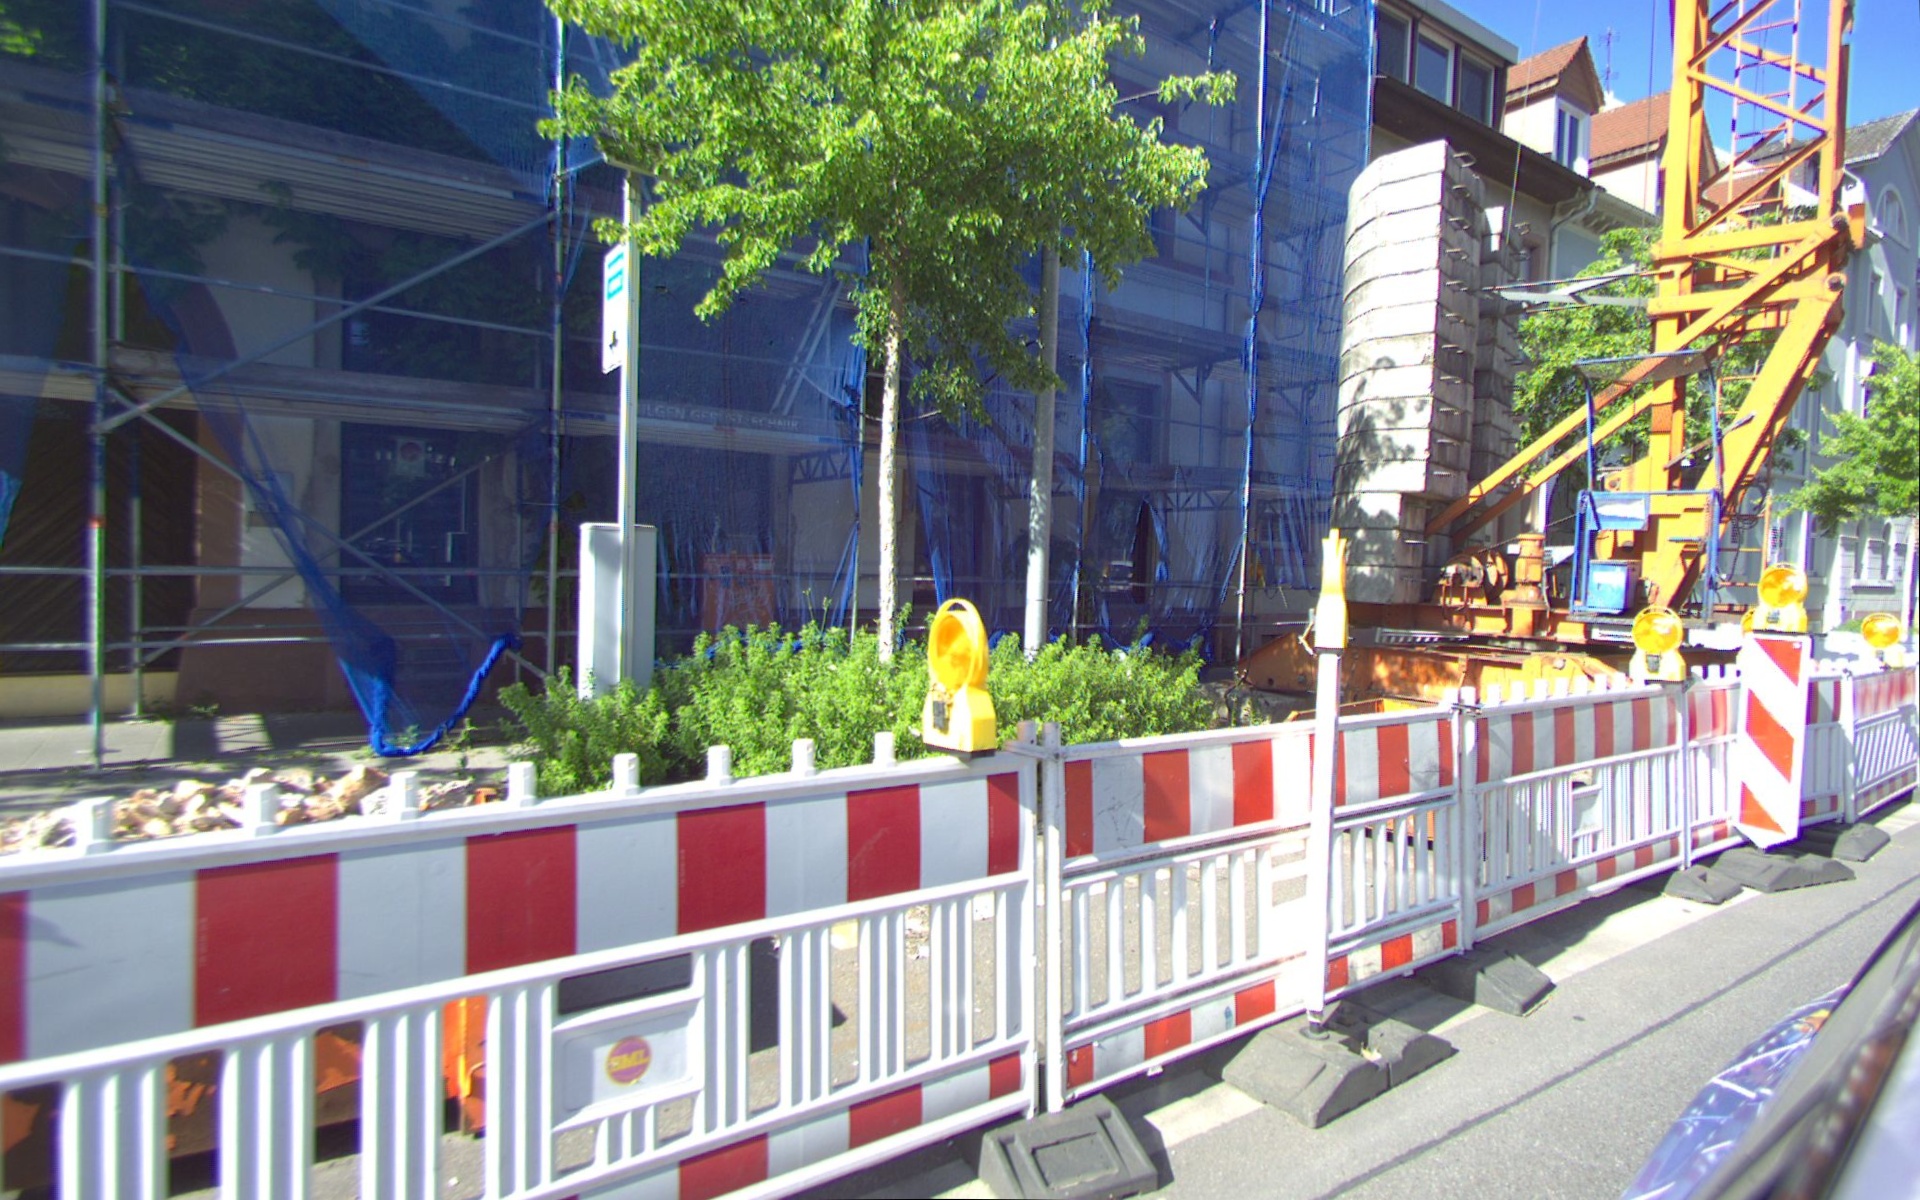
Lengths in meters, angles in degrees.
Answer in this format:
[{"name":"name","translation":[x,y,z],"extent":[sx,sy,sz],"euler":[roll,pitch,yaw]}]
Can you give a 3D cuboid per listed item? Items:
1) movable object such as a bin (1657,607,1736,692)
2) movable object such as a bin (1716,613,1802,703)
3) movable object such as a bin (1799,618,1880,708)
[{"name":"movable object such as a bin","translation":[10.163,0.662,13.969],"extent":[0.769,1.070,0.590],"euler":[0,6,-38]},{"name":"movable object such as a bin","translation":[10.485,0.745,13.292],"extent":[0.716,1.070,0.598],"euler":[1,5,-33]},{"name":"movable object such as a bin","translation":[11.095,0.777,12.769],"extent":[0.716,1.071,0.590],"euler":[1,1,-33]}]
